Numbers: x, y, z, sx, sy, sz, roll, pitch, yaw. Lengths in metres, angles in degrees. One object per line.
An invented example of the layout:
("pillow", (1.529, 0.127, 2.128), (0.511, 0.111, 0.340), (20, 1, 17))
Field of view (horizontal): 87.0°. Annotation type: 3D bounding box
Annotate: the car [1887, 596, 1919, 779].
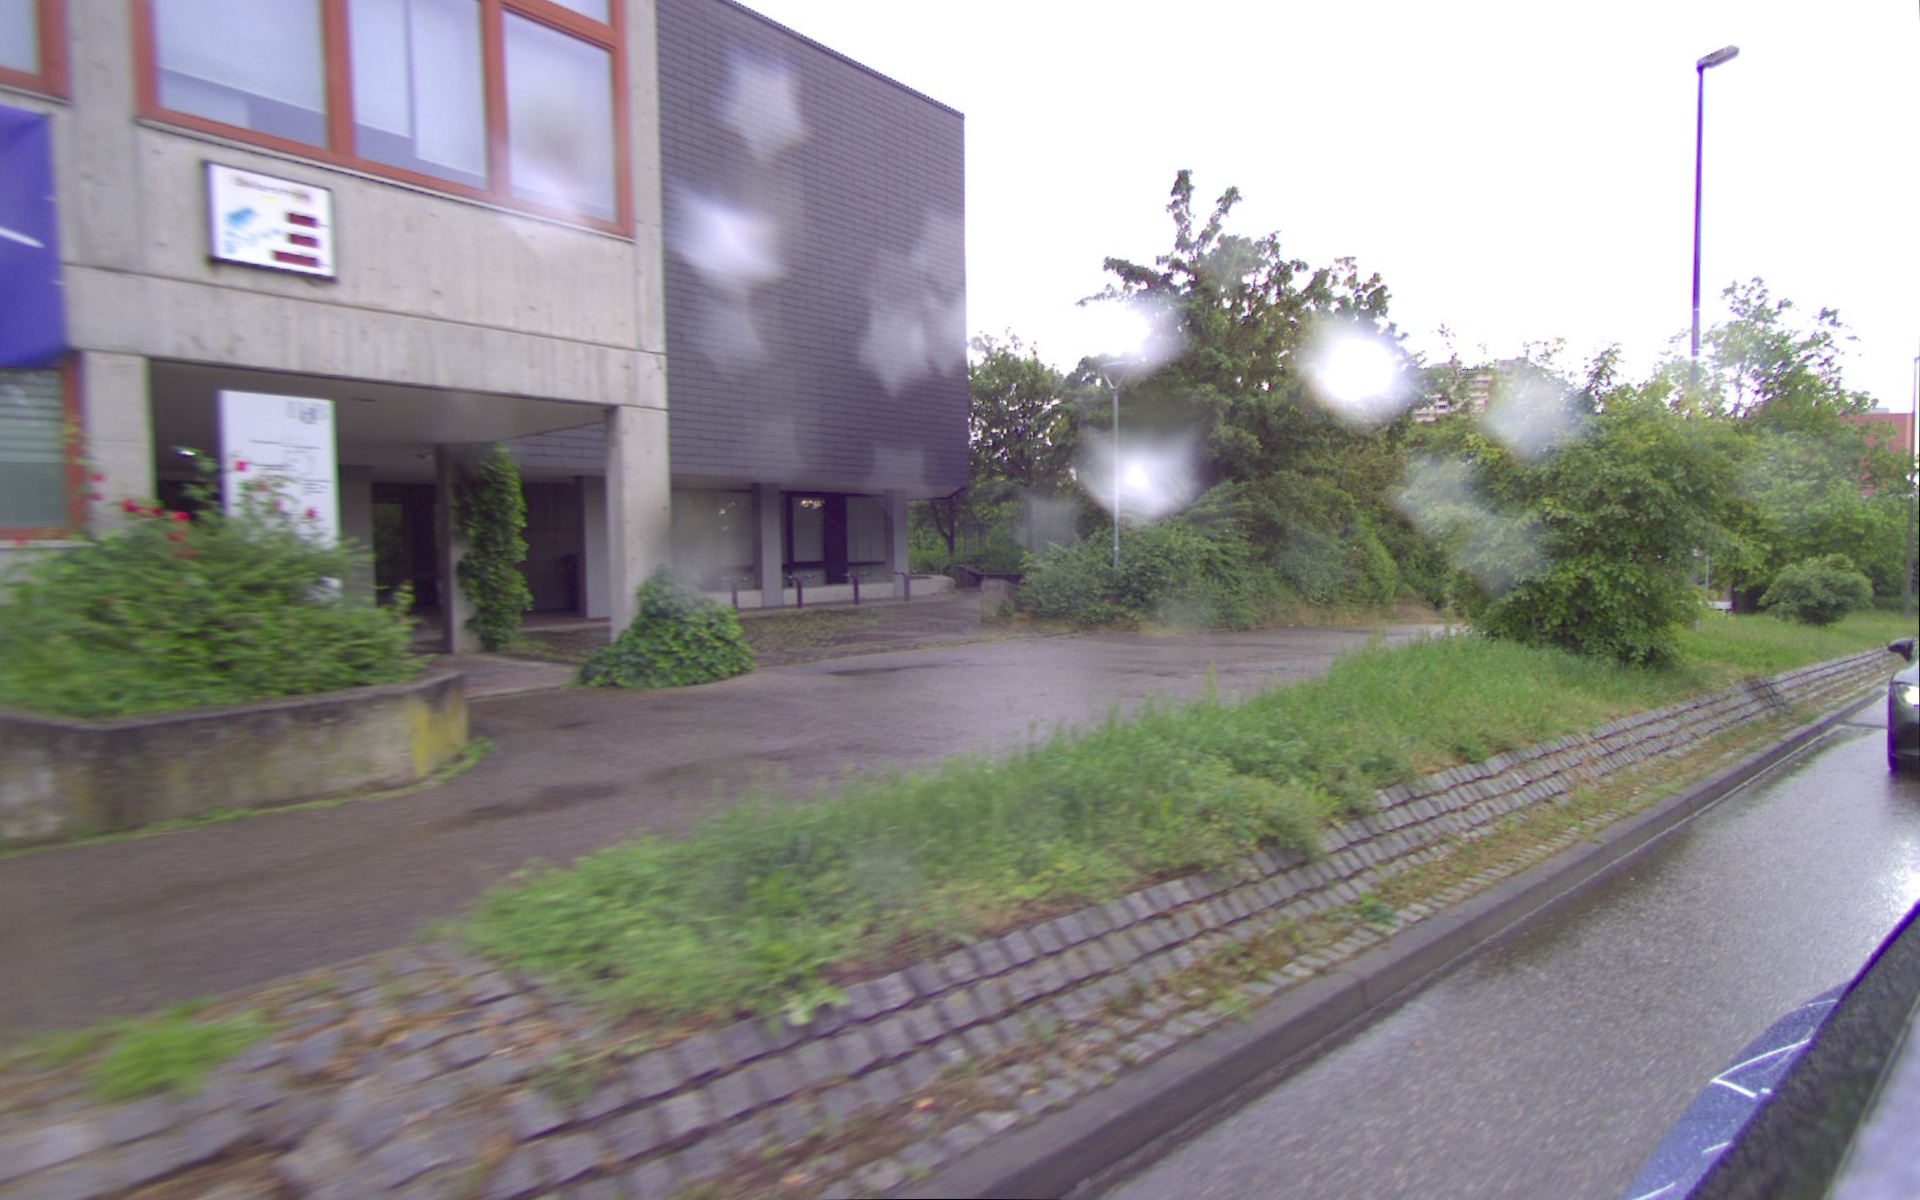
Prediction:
("car", (9.957, 0.682, 9.080), (4.470, 1.462, 1.835), (-1, 1, -40))
